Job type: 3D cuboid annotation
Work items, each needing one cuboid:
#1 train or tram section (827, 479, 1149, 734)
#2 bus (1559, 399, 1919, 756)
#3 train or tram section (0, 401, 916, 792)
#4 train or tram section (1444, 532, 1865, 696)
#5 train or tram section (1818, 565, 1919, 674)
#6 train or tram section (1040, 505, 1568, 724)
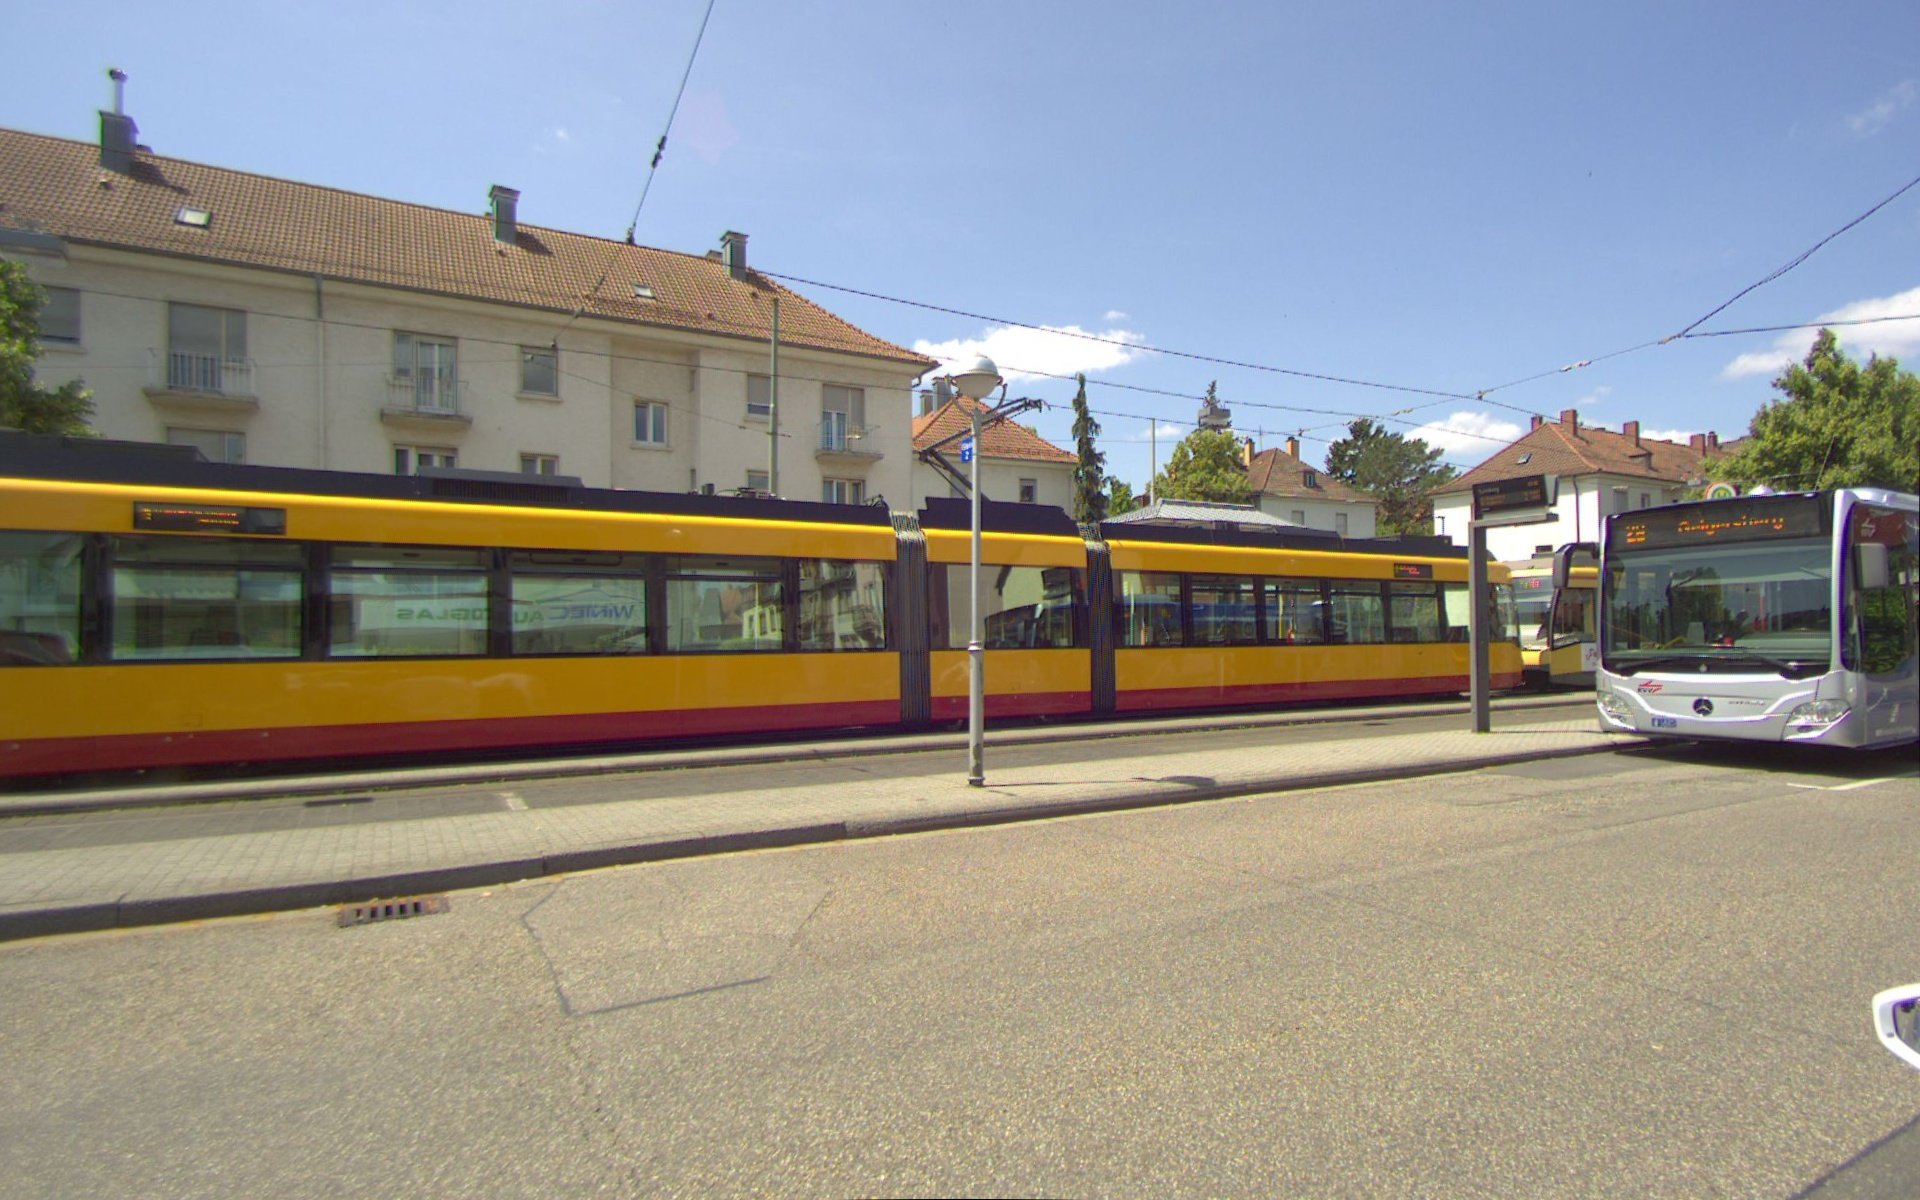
[{"bbox_3d":[0.427,0.176,16.359,4.366,3.541,2.949,1,-3,-31],"label":"train or tram section"},{"bbox_3d":[13.168,-0.026,14.146,11.904,3.472,2.893,2,-1,-31],"label":"bus"},{"bbox_3d":[-6.753,0.020,12.026,12.566,3.542,2.948,1,0,-31],"label":"train or tram section"},{"bbox_3d":[20.224,0.459,28.283,17.152,3.691,2.948,1,0,-31],"label":"train or tram section"},{"bbox_3d":[38.036,0.780,38.989,13.832,3.691,2.948,1,0,-31],"label":"train or tram section"},{"bbox_3d":[7.602,0.336,20.697,12.511,3.542,2.948,1,0,-31],"label":"train or tram section"}]
